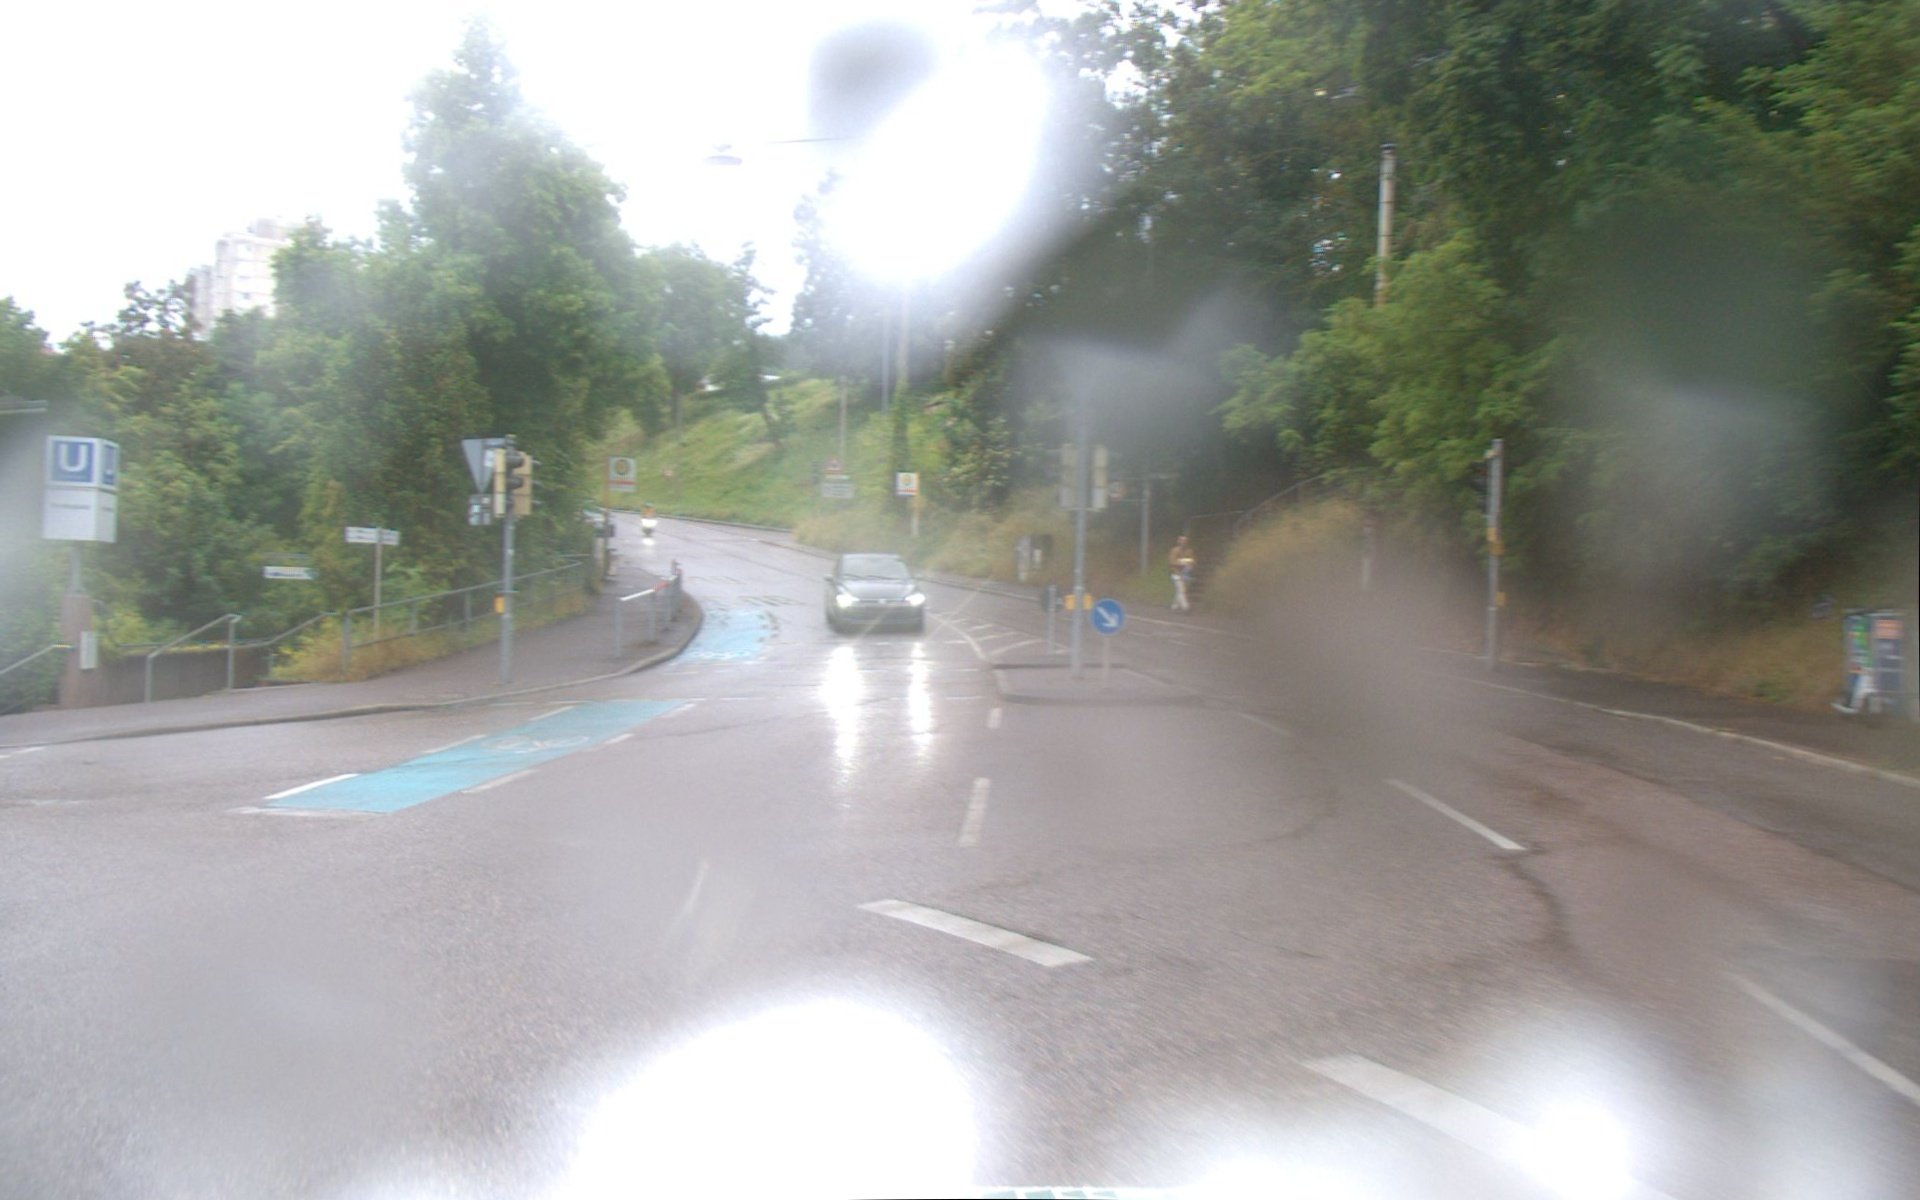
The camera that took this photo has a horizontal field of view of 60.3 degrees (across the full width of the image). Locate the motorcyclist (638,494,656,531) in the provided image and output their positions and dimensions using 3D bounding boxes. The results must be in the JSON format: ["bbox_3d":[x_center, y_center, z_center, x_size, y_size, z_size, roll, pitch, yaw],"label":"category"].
[{"bbox_3d":[-16.651,-4.653,87.964,0.869,1.905,1.251,0,3,-13],"label":"motorcyclist"}]

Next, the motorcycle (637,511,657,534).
[{"bbox_3d":[-16.661,-4.132,87.969,0.923,1.163,2.638,1,4,-13],"label":"motorcycle"}]

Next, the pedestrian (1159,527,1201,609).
[{"bbox_3d":[4.948,-0.727,37.259,0.636,1.783,0.797,2,3,-12],"label":"pedestrian"}]

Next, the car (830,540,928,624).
[{"bbox_3d":[-1.649,-0.416,33.381,1.845,1.547,4.690,0,2,-3],"label":"car"}]

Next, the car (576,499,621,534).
[{"bbox_3d":[-18.992,-4.396,86.800,1.809,1.720,3.979,-1,4,-20],"label":"car"}]

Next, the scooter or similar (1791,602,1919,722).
[{"bbox_3d":[8.995,0.589,16.604,0.589,1.094,1.770,1,1,8],"label":"scooter or similar"}]
